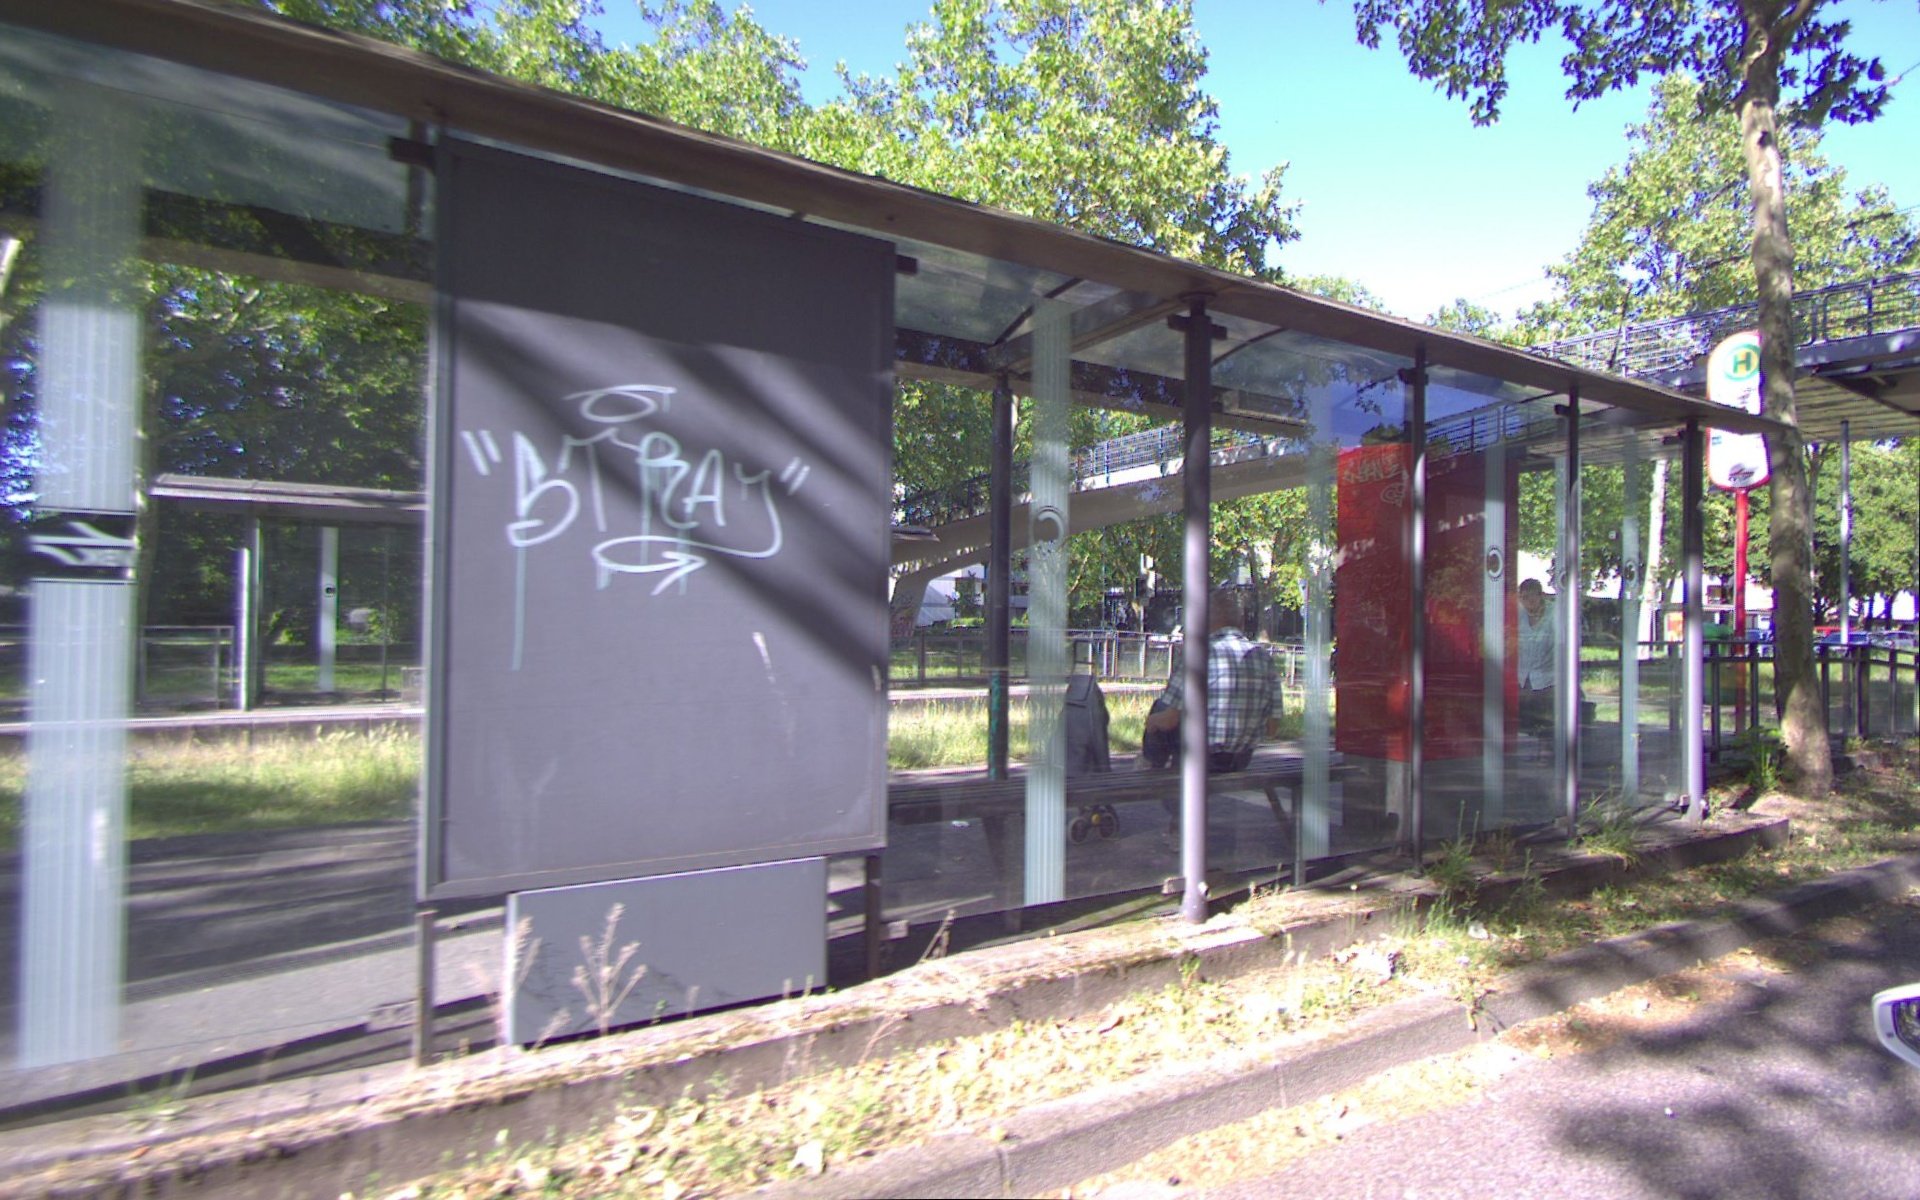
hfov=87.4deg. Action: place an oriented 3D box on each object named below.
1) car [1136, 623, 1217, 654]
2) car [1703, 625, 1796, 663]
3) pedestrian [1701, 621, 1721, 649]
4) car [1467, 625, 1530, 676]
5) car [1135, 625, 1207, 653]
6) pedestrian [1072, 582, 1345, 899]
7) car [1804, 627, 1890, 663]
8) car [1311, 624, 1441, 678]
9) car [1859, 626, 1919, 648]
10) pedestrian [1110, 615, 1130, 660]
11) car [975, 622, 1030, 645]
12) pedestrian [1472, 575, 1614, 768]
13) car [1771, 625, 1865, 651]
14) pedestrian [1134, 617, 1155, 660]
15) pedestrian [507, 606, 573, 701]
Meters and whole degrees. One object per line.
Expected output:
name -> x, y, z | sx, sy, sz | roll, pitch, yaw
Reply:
car -> 11.343, 2.003, 52.844 | 1.783, 1.530, 4.045 | 1, -1, -36
car -> 34.635, 1.903, 44.046 | 4.238, 1.601, 1.786 | 1, -1, -31
pedestrian -> 39.162, 1.816, 52.399 | 0.642, 1.479, 0.645 | 1, -1, -29
car -> 18.399, 1.665, 34.254 | 1.768, 1.587, 4.280 | 0, -1, 30
car -> 12.170, 2.241, 58.133 | 1.783, 1.530, 3.960 | 1, -1, -36
pedestrian -> 1.106, 0.561, 4.561 | 0.840, 1.259, 0.851 | 1, 0, -29
car -> 40.481, 2.018, 45.801 | 4.625, 1.530, 1.784 | 1, -1, -33
car -> 13.078, 1.562, 31.500 | 4.244, 1.587, 1.783 | 1, -1, -35
car -> 68.271, 2.694, 73.065 | 3.919, 1.530, 1.801 | 0, -1, 13
pedestrian -> 6.402, 1.500, 40.196 | 0.638, 1.807, 0.649 | 1, -1, -10
car -> 2.983, 2.337, 70.946 | 1.783, 1.530, 3.960 | 1, -1, -36
pedestrian -> 4.597, 0.536, 7.934 | 0.674, 1.436, 0.721 | 1, 0, -31
car -> 52.080, 2.304, 61.050 | 3.919, 1.530, 1.801 | 0, -1, 13
pedestrian -> 7.395, 1.542, 40.336 | 0.638, 1.728, 0.649 | 1, -1, -10
pedestrian -> -5.778, 0.721, 13.798 | 0.714, 1.254, 0.774 | 1, -1, -32
